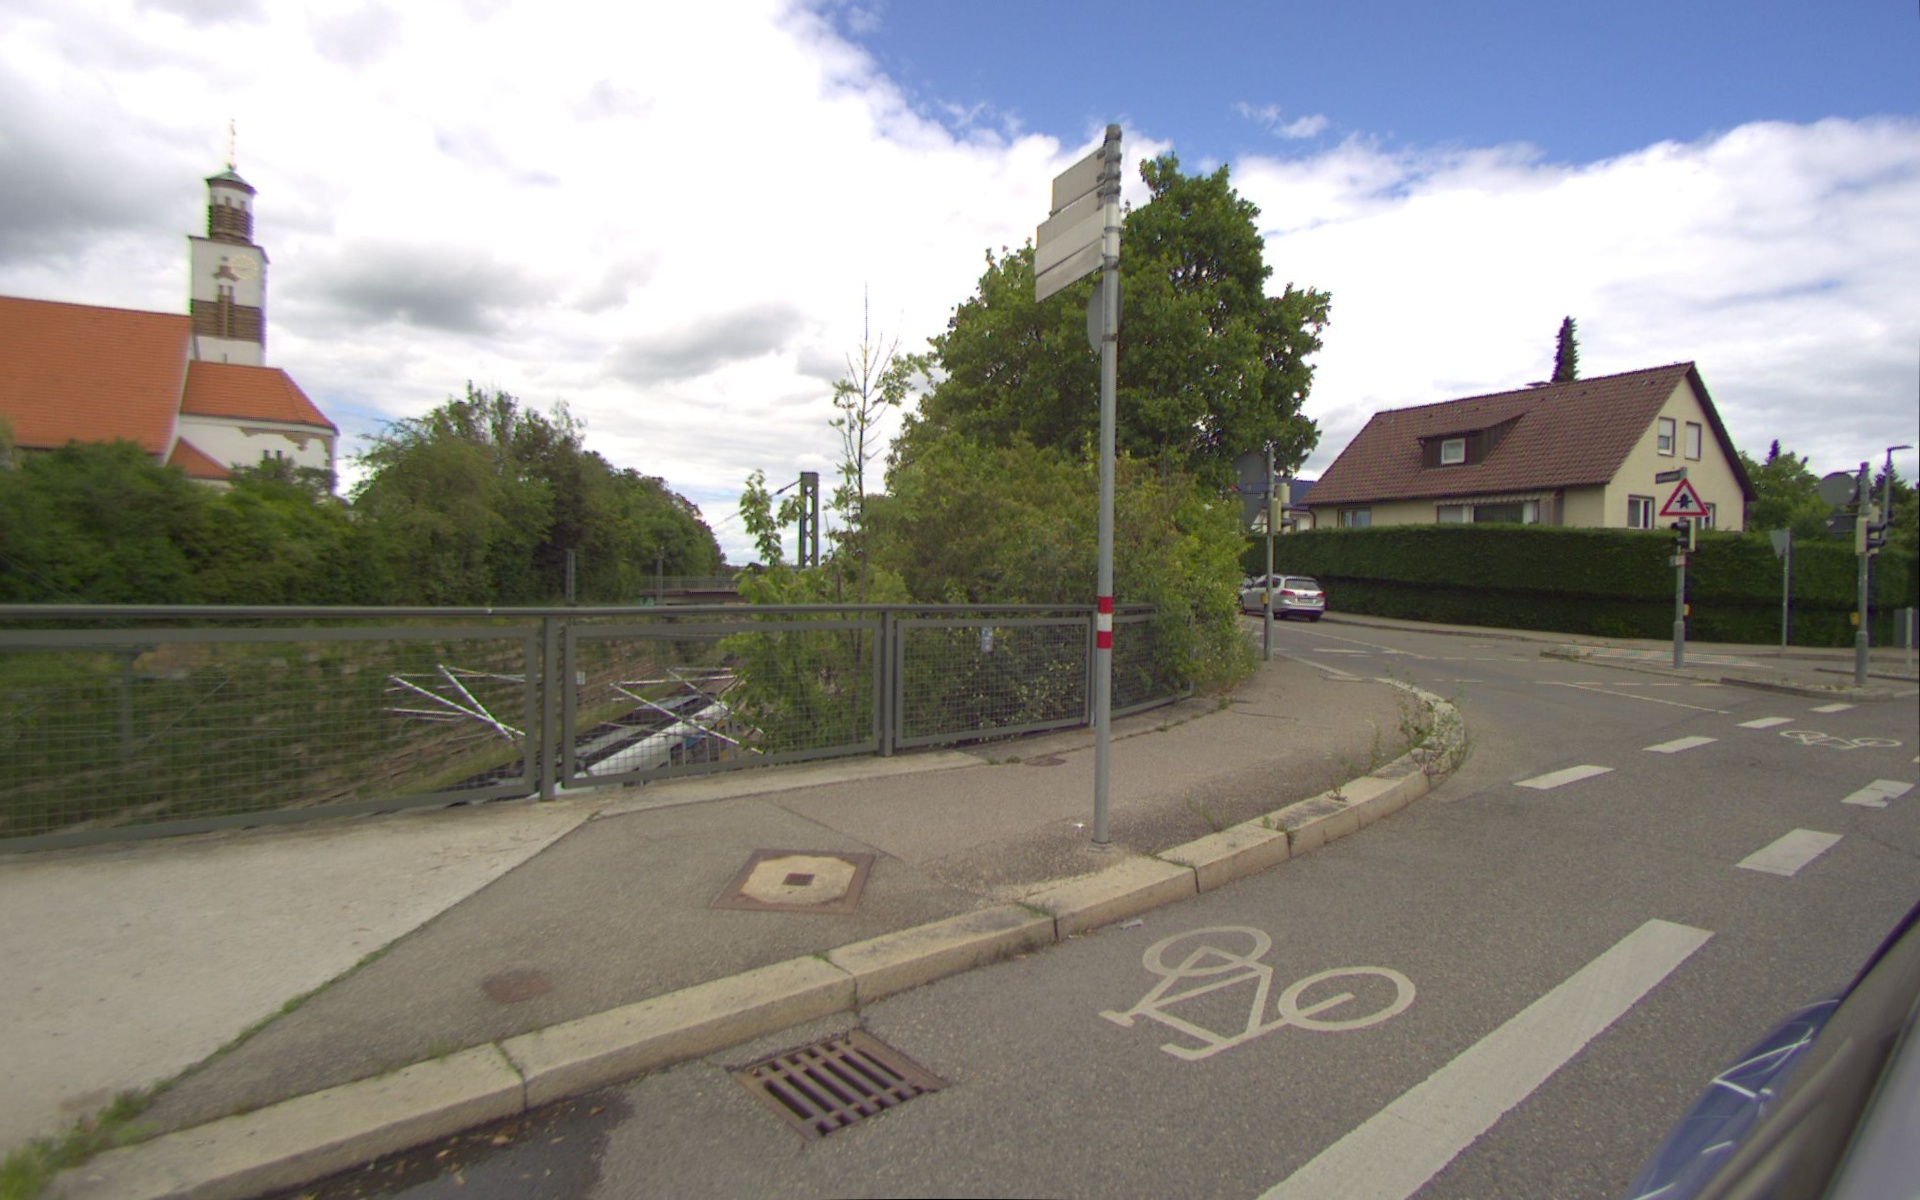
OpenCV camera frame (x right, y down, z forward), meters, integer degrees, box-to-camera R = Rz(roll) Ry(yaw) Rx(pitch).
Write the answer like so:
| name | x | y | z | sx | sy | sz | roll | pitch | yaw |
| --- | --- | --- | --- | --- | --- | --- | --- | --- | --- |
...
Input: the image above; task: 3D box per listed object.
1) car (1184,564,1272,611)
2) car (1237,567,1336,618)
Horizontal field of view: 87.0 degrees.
| name | x | y | z | sx | sy | sz | roll | pitch | yaw |
| --- | --- | --- | --- | --- | --- | --- | --- | --- | --- |
| car | 10.430 | -0.534 | 39.696 | 1.960 | 1.660 | 4.145 | 1 | 2 | -5 |
| car | 10.873 | -0.288 | 33.954 | 1.679 | 1.461 | 3.929 | 3 | 3 | -5 |
